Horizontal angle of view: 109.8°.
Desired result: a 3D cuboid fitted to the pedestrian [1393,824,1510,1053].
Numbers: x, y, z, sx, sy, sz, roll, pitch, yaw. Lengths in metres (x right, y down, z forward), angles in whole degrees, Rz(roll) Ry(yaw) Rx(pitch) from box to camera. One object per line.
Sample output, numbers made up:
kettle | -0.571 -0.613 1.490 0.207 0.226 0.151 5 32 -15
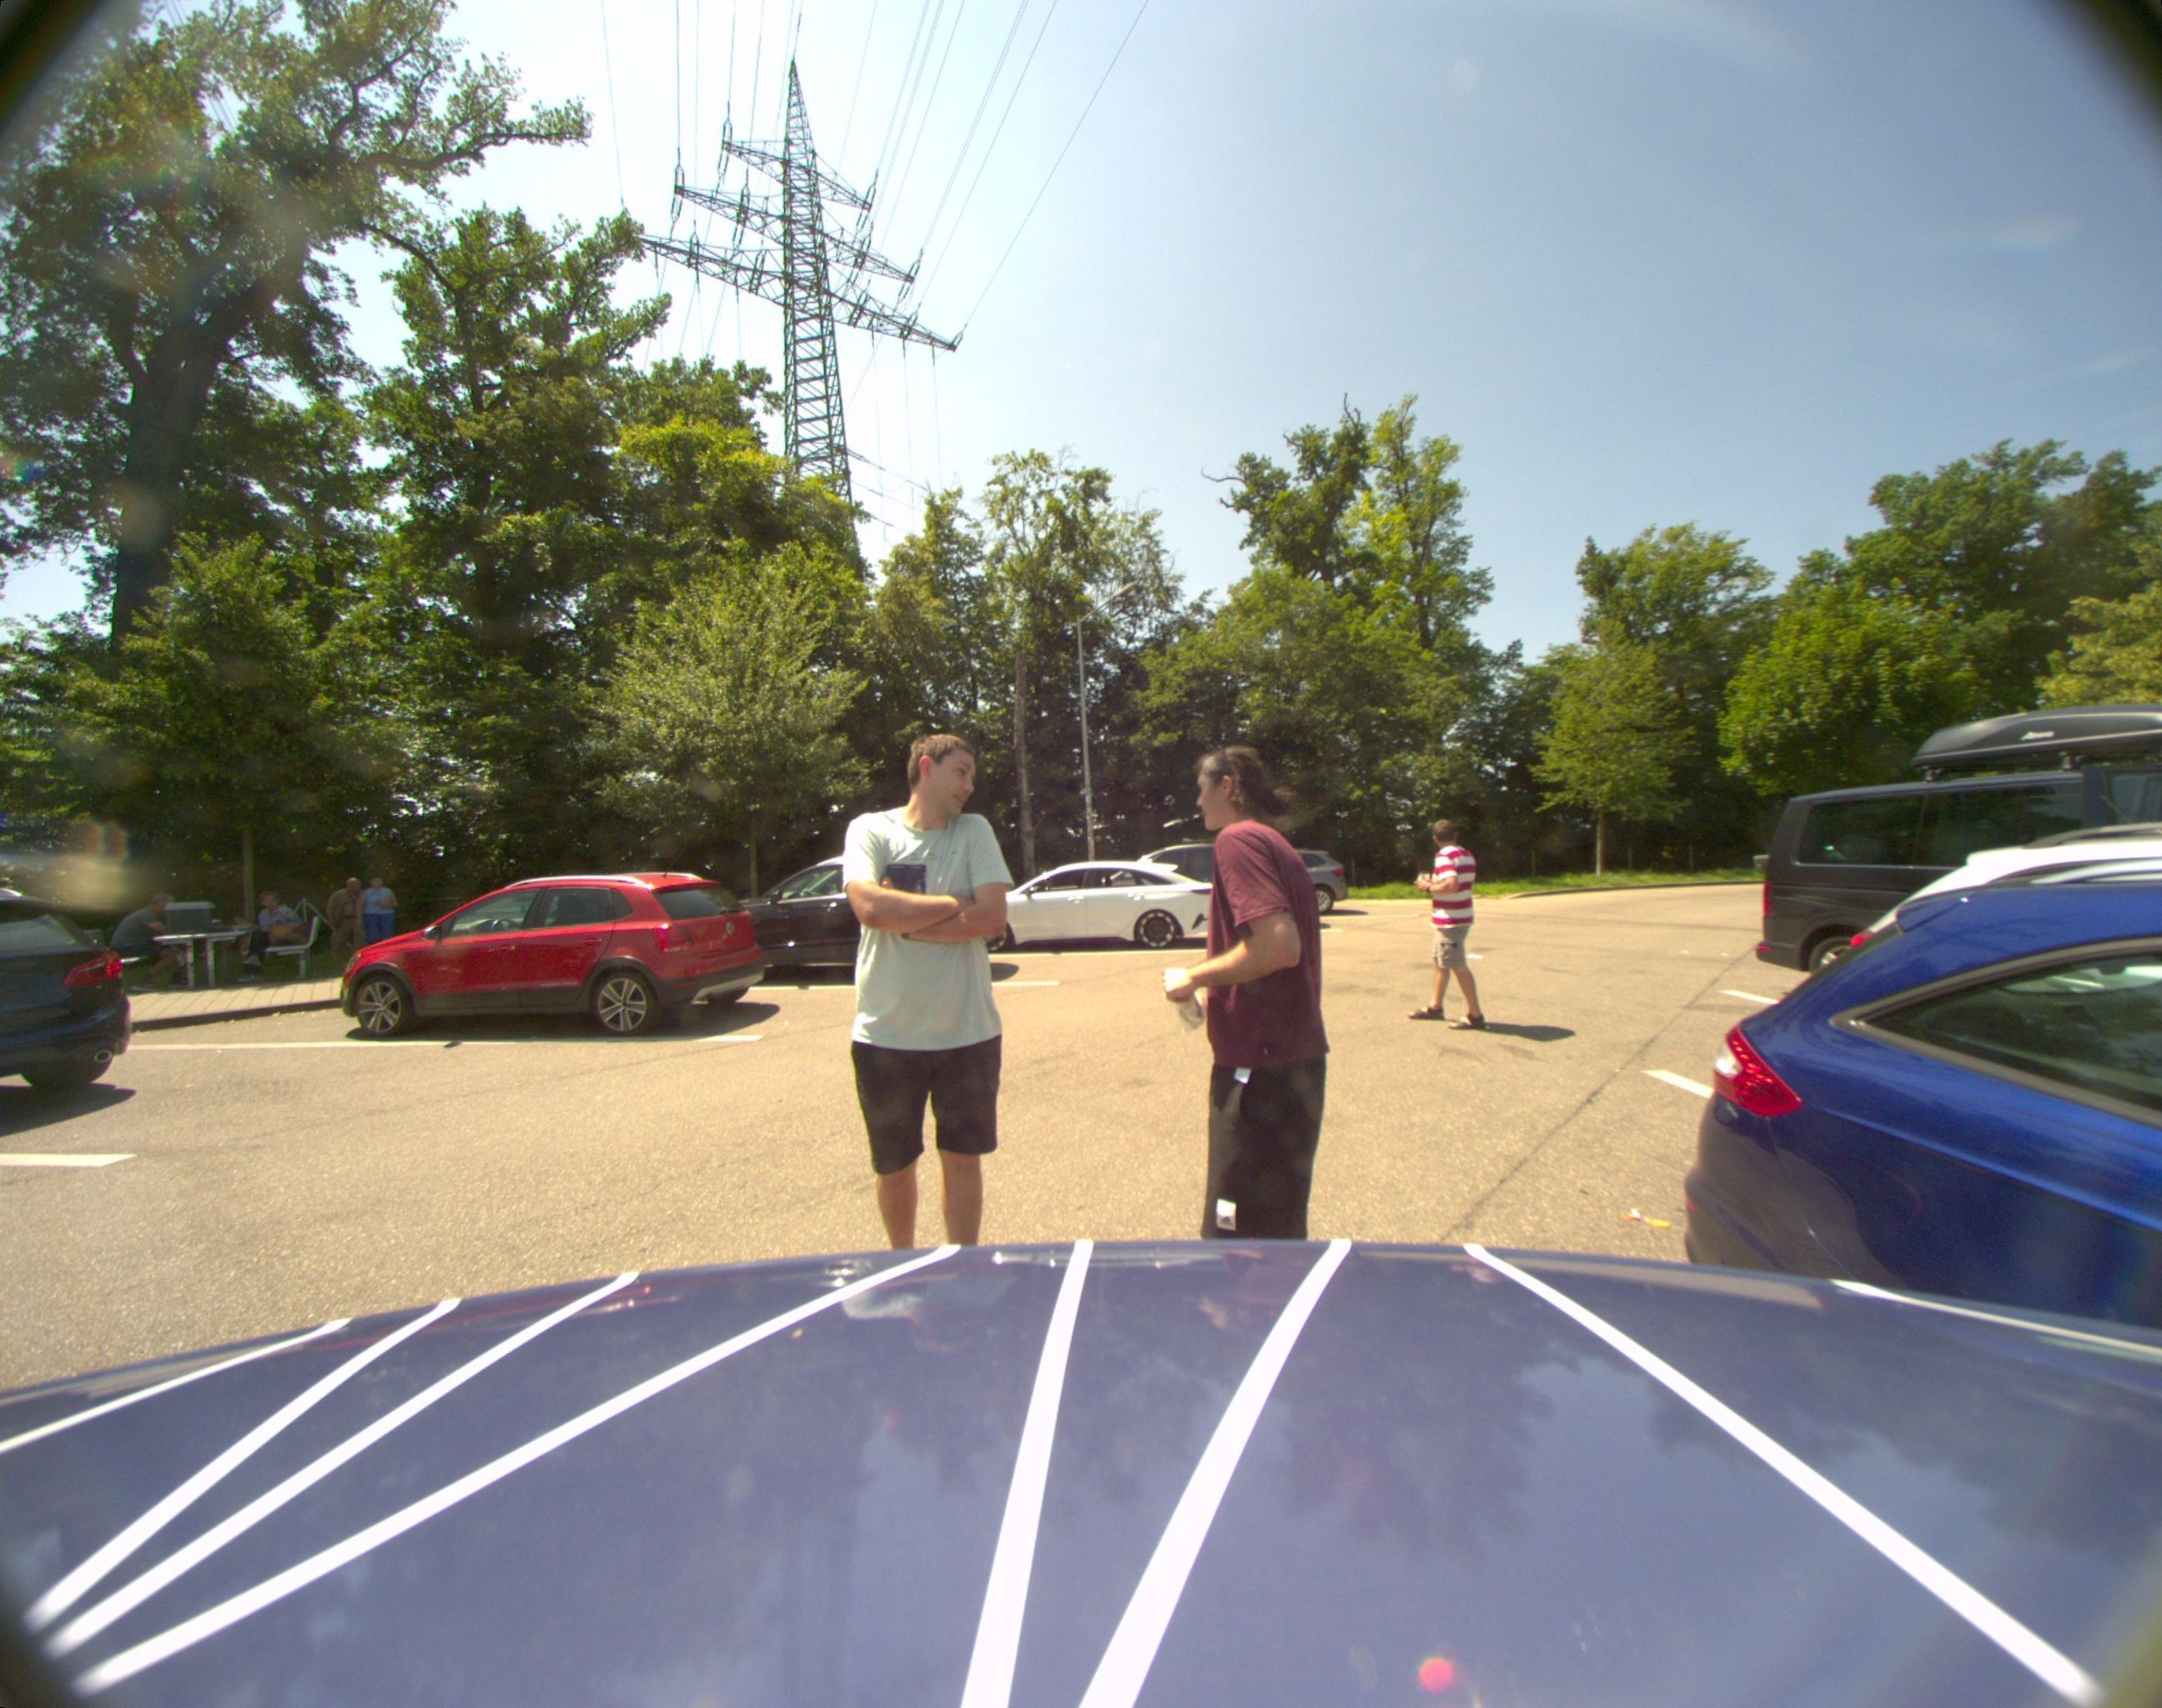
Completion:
pedestrian | 3.081 0.648 6.295 0.783 1.744 0.756 -2 1 29

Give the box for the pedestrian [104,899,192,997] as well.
pedestrian | -12.725 1.260 10.378 0.595 1.238 0.446 -3 1 -33

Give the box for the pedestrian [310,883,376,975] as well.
pedestrian | -13.443 1.351 13.854 0.571 1.596 0.648 -2 1 28

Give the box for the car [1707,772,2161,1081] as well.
car | 7.378 0.414 5.288 1.758 1.886 4.571 -3 -1 -9

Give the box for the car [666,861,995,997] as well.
car | -3.246 0.956 10.304 3.825 1.546 1.651 -2 1 4

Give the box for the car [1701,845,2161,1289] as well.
car | 4.649 0.728 2.257 1.757 1.496 4.574 -3 -1 -1

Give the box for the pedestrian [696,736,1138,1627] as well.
pedestrian | -0.480 0.714 2.246 0.918 1.939 0.815 -1 2 42

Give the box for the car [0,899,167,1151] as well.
car | -9.028 1.165 5.009 4.338 1.544 1.749 -1 1 8

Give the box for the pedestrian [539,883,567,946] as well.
pedestrian | -10.160 1.154 14.629 0.357 1.158 0.384 -3 2 -41

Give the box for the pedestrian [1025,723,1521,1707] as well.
pedestrian | 0.471 0.713 1.934 0.919 1.894 0.815 -2 1 16

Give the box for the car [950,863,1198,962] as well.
car | -0.071 0.928 12.679 3.825 1.394 1.651 -2 1 4

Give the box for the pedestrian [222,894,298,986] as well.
pedestrian | -11.858 1.220 10.991 0.595 1.238 0.499 -3 1 -33

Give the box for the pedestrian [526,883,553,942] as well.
pedestrian | -11.005 1.177 15.444 0.357 1.158 0.384 -3 2 -41

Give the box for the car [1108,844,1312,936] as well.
car | 2.611 0.706 15.461 3.822 1.686 1.652 -2 1 12

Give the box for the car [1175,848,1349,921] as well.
car | 4.270 0.702 18.156 3.822 1.551 1.652 -2 1 12

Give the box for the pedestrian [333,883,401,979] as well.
pedestrian | -12.510 1.322 13.326 0.571 1.596 0.648 -2 1 28

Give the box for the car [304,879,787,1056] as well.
car | -5.228 1.084 7.675 3.823 1.460 1.651 -2 1 8
